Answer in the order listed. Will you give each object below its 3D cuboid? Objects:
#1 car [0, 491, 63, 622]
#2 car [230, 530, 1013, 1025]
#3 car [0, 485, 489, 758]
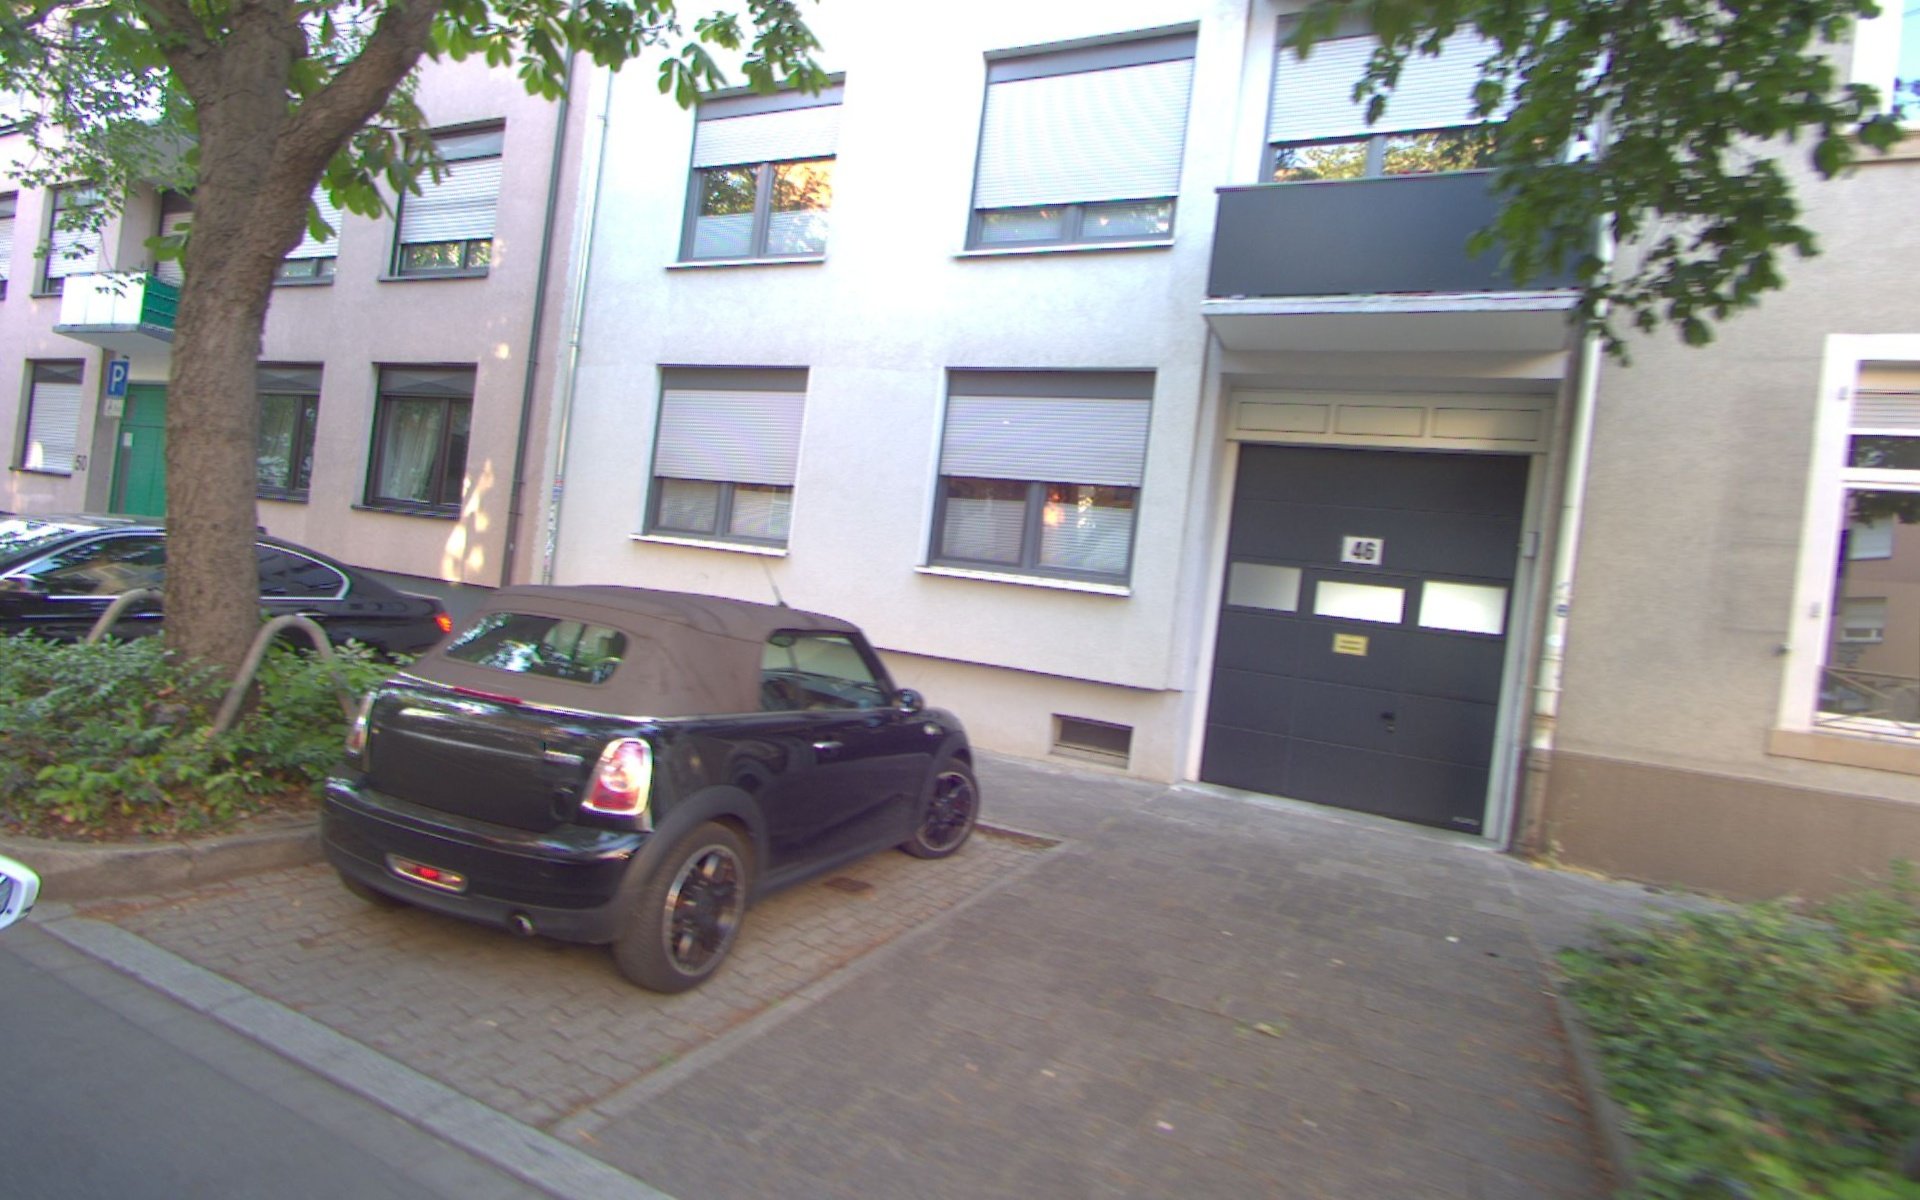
[{"bbox_3d":[-12.441,-0.693,10.704,1.635,1.494,3.920,7,-1,24],"label":"car"},{"bbox_3d":[-1.176,0.633,5.049,1.634,1.380,3.621,7,-1,23],"label":"car"},{"bbox_3d":[-5.747,0.077,6.463,1.768,1.497,4.757,7,-1,26],"label":"car"}]
